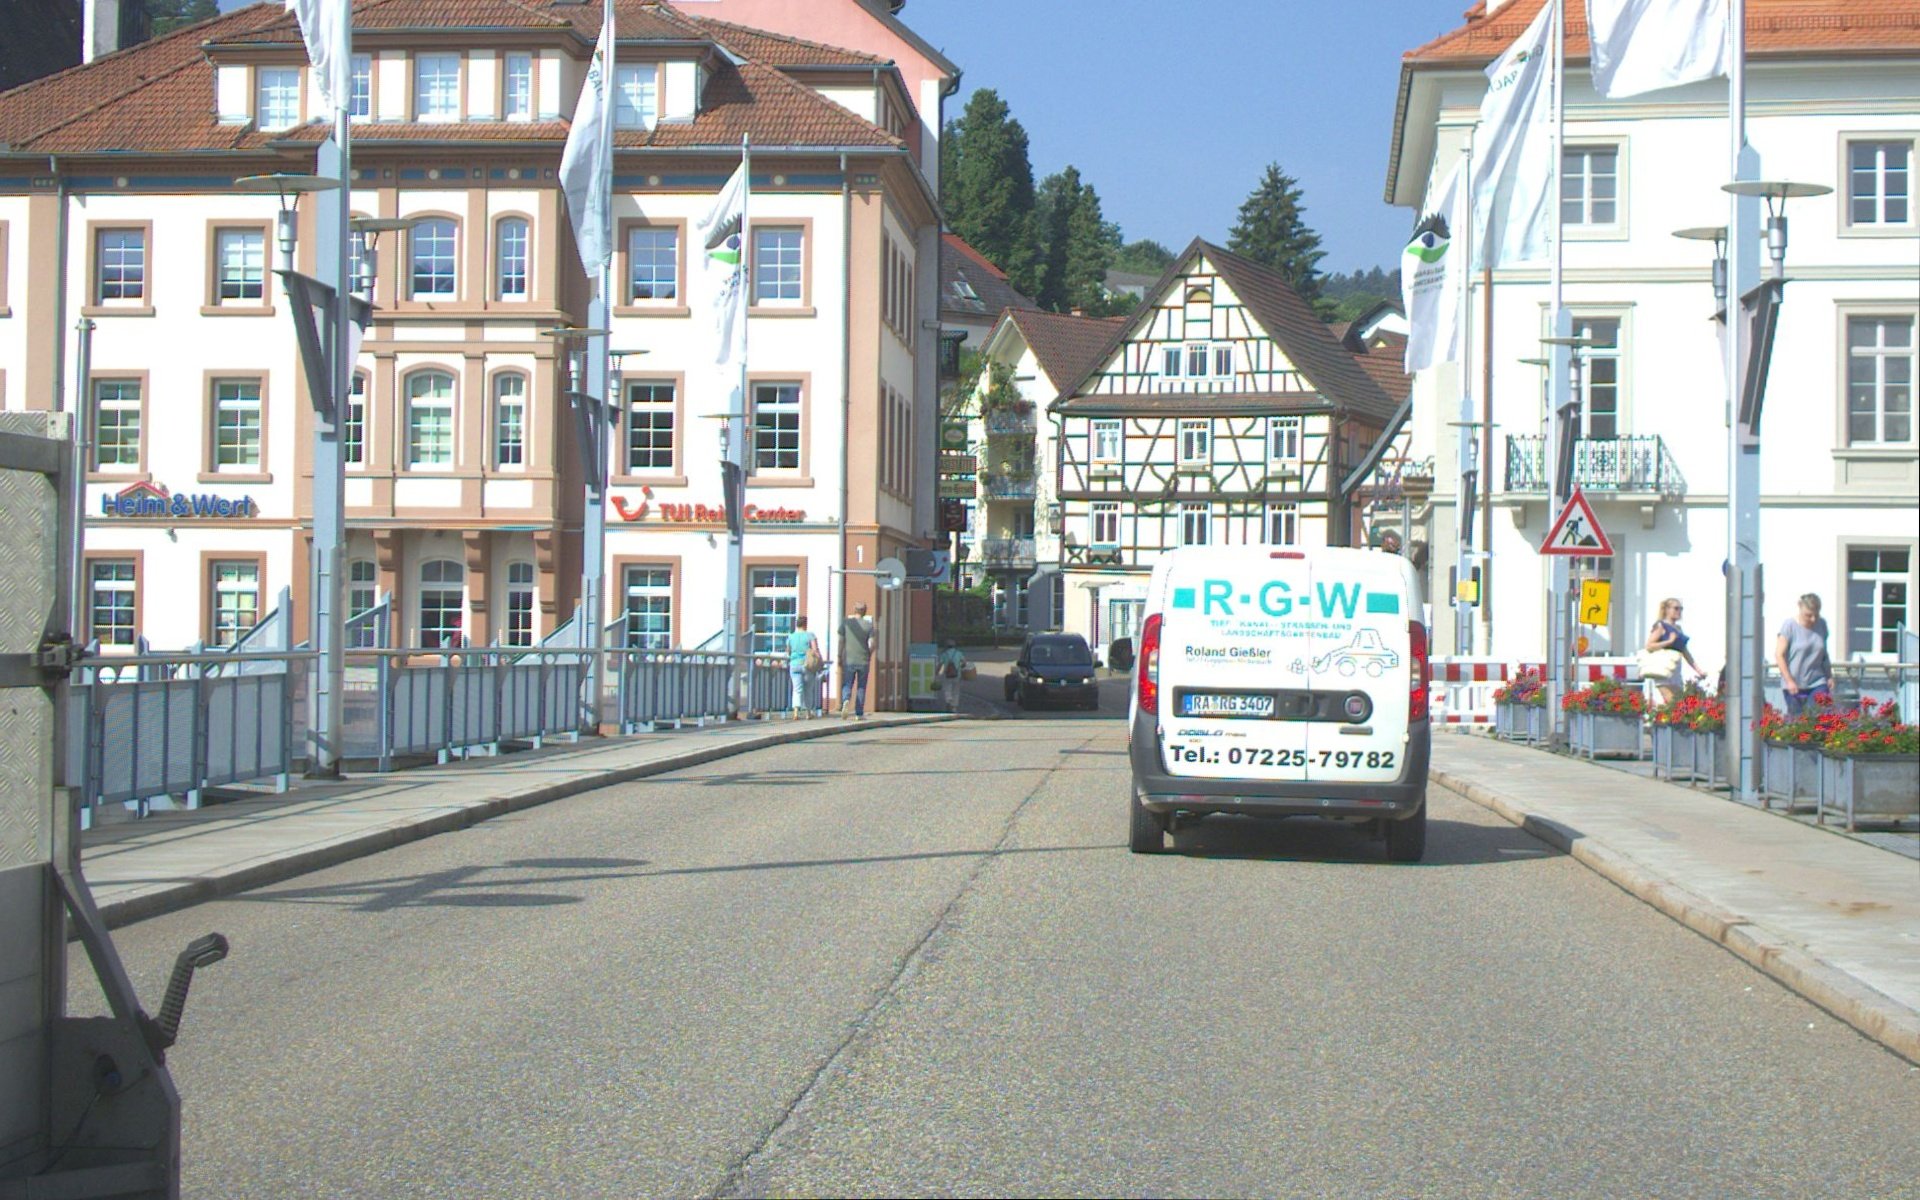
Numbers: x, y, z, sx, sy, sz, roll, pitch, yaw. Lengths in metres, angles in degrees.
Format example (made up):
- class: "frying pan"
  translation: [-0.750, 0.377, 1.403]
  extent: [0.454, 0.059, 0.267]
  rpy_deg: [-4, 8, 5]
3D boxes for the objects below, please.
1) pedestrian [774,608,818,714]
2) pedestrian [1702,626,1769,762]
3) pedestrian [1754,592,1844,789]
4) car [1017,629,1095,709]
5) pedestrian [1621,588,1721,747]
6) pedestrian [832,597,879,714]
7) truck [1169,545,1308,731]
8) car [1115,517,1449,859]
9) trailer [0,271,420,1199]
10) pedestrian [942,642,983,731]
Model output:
- class: "pedestrian"
  translation: [-2.508, 0.931, 52.627]
  extent: [0.583, 1.604, 0.537]
  rpy_deg: [2, 0, 1]
- class: "pedestrian"
  translation: [7.154, 0.863, 31.714]
  extent: [0.451, 1.240, 0.626]
  rpy_deg: [1, -1, -2]
- class: "pedestrian"
  translation: [7.040, 0.751, 28.854]
  extent: [0.666, 1.613, 0.563]
  rpy_deg: [2, 0, 11]
- class: "car"
  translation: [2.325, 1.630, 82.562]
  extent: [1.777, 1.786, 4.696]
  rpy_deg: [2, 0, 2]
- class: "pedestrian"
  translation: [7.871, 0.744, 38.074]
  extent: [0.726, 1.717, 0.747]
  rpy_deg: [2, 0, -36]
- class: "pedestrian"
  translation: [-1.600, 0.843, 52.516]
  extent: [0.614, 1.756, 0.864]
  rpy_deg: [2, 0, 1]
- class: "truck"
  translation: [4.076, 0.561, 50.849]
  extent: [1.861, 2.577, 4.259]
  rpy_deg: [2, -1, 3]
- class: "car"
  translation: [1.968, 0.531, 21.818]
  extent: [1.844, 1.900, 4.314]
  rpy_deg: [2, -1, 3]
- class: "trailer"
  translation: [-2.671, 0.475, 3.782]
  extent: [2.611, 1.821, 5.636]
  rpy_deg: [1, 1, 7]
- class: "pedestrian"
  translation: [0.059, 1.807, 72.042]
  extent: [0.803, 1.851, 0.616]
  rpy_deg: [1, 0, 3]
